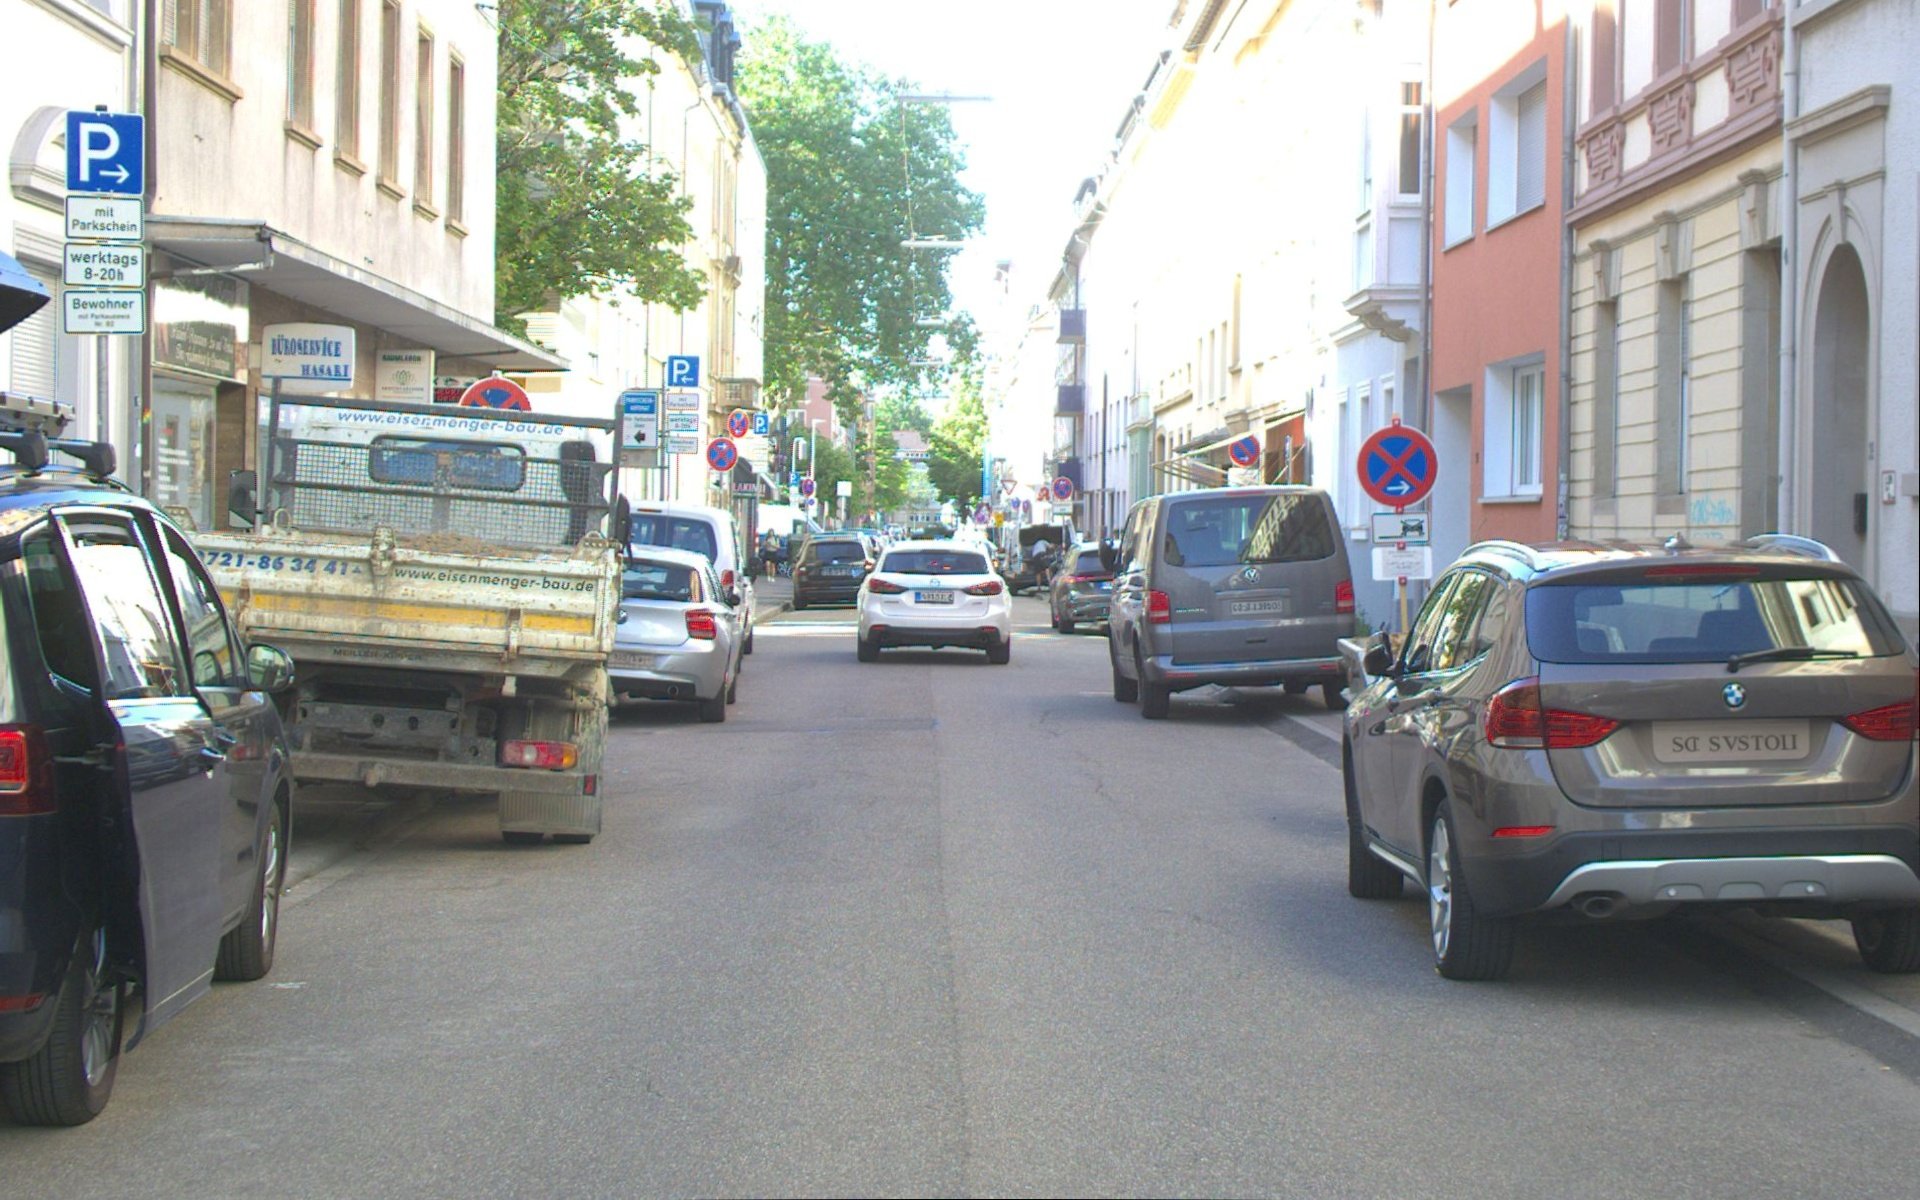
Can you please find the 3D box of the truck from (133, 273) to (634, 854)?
[{"bbox_3d":[-2.864,-0.169,18.465,2.156,2.581,6.250,0,0,-5],"label":"truck"}]

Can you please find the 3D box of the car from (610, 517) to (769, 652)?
[{"bbox_3d":[-3.301,-0.225,42.486,1.647,1.571,3.679,1,1,0],"label":"car"}]

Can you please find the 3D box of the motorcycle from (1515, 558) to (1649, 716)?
[{"bbox_3d":[5.127,0.278,28.489,0.596,1.182,2.760,-4,1,1],"label":"motorcycle"}]

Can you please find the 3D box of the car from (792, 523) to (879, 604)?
[{"bbox_3d":[-2.549,-0.773,70.845,1.625,1.591,3.580,2,1,0],"label":"car"}]

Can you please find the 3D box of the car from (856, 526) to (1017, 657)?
[{"bbox_3d":[-0.255,-0.141,41.705,1.834,1.481,4.057,1,1,1],"label":"car"}]

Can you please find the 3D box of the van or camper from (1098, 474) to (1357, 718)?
[{"bbox_3d":[2.337,-0.077,31.162,1.775,2.029,4.571,-1,1,-3],"label":"van or camper"}]

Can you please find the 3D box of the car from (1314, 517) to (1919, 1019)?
[{"bbox_3d":[2.514,0.498,13.382,1.739,1.571,4.378,1,2,-1],"label":"car"}]

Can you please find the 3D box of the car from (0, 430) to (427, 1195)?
[{"bbox_3d":[-3.215,0.382,10.250,2.441,1.700,5.243,1,1,0],"label":"car"}]

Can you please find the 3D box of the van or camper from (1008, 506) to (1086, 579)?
[{"bbox_3d":[2.341,-1.544,93.396,1.993,1.919,4.000,0,0,0],"label":"van or camper"}]

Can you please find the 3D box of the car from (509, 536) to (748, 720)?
[{"bbox_3d":[-2.779,0.187,29.540,1.758,1.411,4.001,-1,1,-2],"label":"car"}]

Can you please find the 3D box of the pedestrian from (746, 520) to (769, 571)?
[{"bbox_3d":[-5.873,-1.584,99.696,0.627,1.459,0.575,0,0,0],"label":"pedestrian"}]

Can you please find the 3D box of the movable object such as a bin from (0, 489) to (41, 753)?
[{"bbox_3d":[-5.802,0.109,20.180,0.639,1.527,0.587,1,1,0],"label":"movable object such as a bin"}]

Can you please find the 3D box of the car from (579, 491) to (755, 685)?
[{"bbox_3d":[-2.969,-0.161,35.430,1.647,1.861,4.001,1,1,-3],"label":"car"}]

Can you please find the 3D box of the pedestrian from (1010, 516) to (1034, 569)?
[{"bbox_3d":[1.714,-1.577,94.705,0.627,1.459,0.575,0,0,0],"label":"pedestrian"}]

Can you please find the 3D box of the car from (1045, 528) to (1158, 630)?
[{"bbox_3d":[2.261,-0.366,55.672,1.647,1.571,3.679,1,1,0],"label":"car"}]
